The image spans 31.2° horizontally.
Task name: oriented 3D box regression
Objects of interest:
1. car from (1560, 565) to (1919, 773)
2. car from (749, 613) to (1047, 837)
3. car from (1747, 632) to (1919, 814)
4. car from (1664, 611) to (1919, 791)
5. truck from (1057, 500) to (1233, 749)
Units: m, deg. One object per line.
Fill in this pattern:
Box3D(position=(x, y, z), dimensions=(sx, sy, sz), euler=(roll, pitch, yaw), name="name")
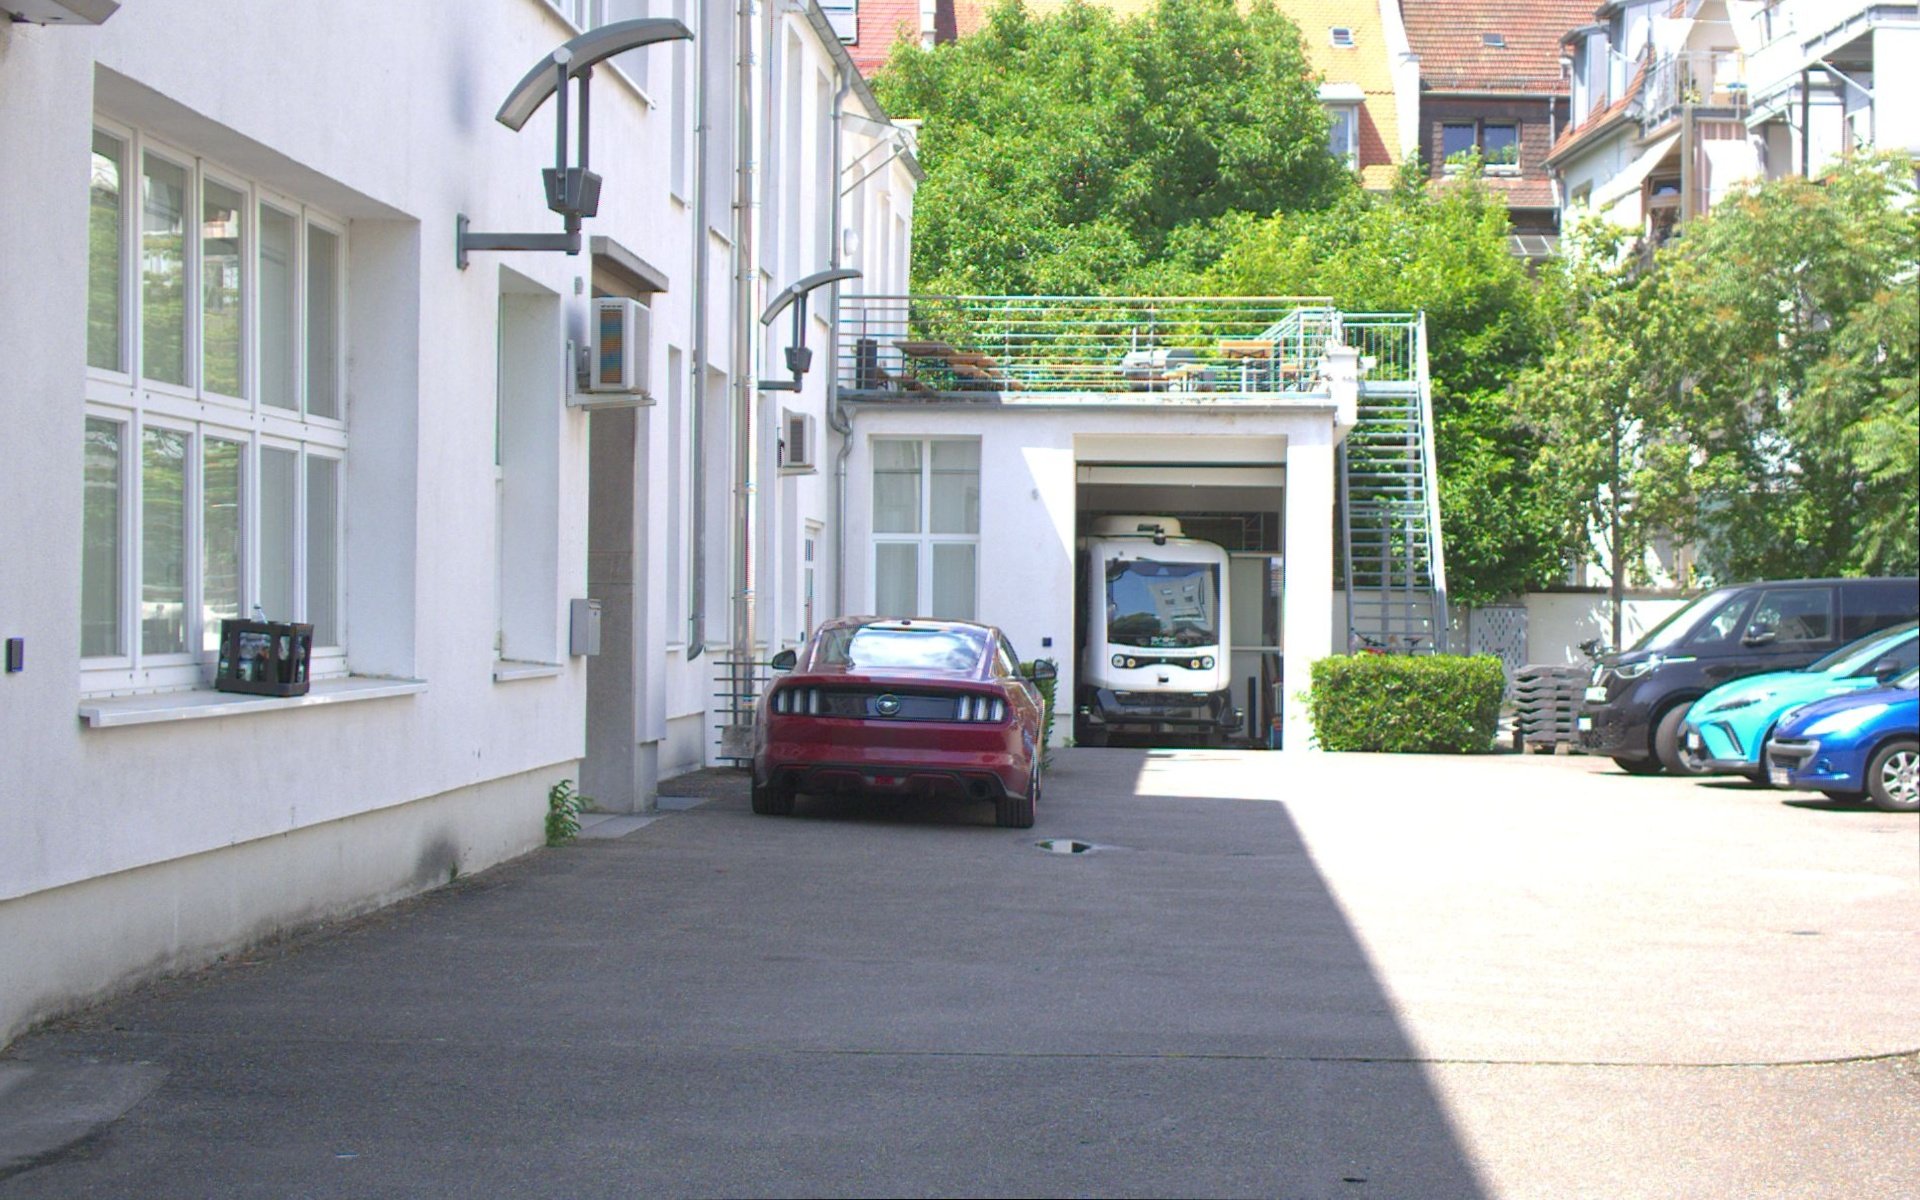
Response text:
Box3D(position=(8.342, 0.655, 33.509), dimensions=(4.678, 1.951, 2.076), euler=(0, 0, 2), name="car")
Box3D(position=(-0.352, 0.811, 24.121), dimensions=(1.799, 1.385, 4.000), euler=(1, 0, 3), name="car")
Box3D(position=(8.470, 0.967, 27.463), dimensions=(3.987, 1.385, 1.804), euler=(0, 0, 2), name="car")
Box3D(position=(8.400, 0.879, 30.456), dimensions=(3.987, 1.529, 1.804), euler=(0, 0, 2), name="car")
Box3D(position=(2.256, 0.300, 43.019), dimensions=(1.788, 2.927, 4.653), euler=(1, 0, -1), name="truck")
